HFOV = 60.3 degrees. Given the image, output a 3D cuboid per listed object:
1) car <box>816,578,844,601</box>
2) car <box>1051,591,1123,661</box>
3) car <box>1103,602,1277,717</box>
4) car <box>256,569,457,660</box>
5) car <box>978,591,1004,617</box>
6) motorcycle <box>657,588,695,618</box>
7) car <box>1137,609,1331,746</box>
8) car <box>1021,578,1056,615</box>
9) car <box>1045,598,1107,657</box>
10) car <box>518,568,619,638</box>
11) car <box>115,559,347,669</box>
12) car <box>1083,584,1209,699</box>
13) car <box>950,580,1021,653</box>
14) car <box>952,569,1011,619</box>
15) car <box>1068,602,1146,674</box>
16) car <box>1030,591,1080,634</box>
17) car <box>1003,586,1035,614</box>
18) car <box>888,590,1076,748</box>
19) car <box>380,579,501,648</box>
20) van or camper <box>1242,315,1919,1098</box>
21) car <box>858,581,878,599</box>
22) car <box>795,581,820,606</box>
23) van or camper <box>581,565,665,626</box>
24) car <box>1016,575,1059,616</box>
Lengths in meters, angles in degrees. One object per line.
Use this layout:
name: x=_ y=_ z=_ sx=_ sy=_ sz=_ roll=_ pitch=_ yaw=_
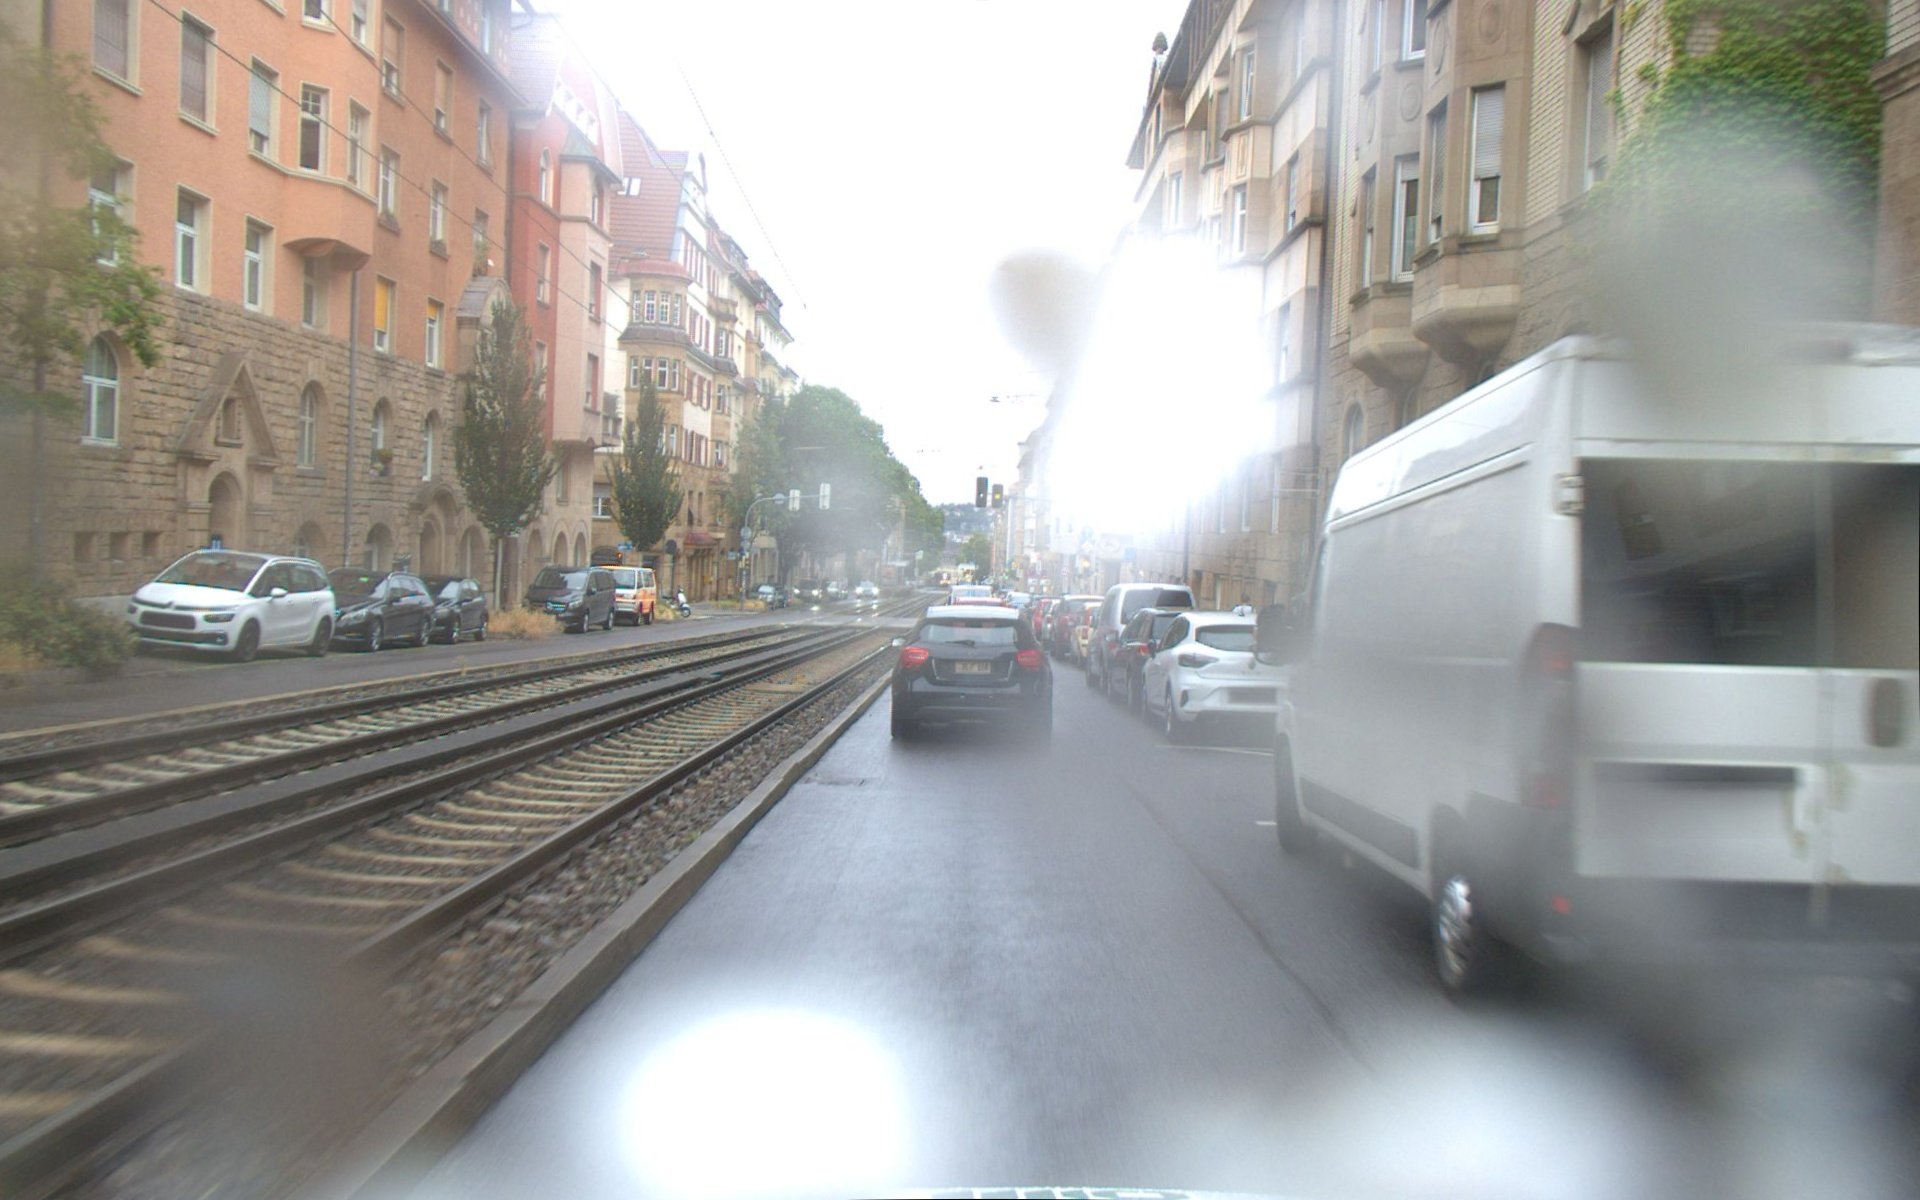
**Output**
car: x=-10.971 y=-0.940 z=139.584 sx=1.952 sy=1.825 sz=4.001 roll=2 pitch=1 yaw=1
car: x=3.317 y=0.655 z=43.792 sx=1.675 sy=1.656 sz=4.001 roll=2 pitch=1 yaw=2
car: x=3.276 y=0.806 z=24.287 sx=1.953 sy=1.466 sz=4.000 roll=1 pitch=0 yaw=0
car: x=-11.739 y=0.225 z=32.578 sx=1.953 sy=1.535 sz=4.975 roll=4 pitch=1 yaw=1
car: x=2.276 y=0.329 z=121.052 sx=1.814 sy=1.829 sz=3.812 roll=1 pitch=0 yaw=1
motorcycle: x=-11.642 y=0.134 z=67.796 sx=1.410 sy=1.154 sz=0.619 roll=3 pitch=0 yaw=30
car: x=3.164 y=0.839 z=19.781 sx=1.641 sy=1.436 sz=4.000 roll=1 pitch=0 yaw=0
car: x=4.584 y=-0.190 z=97.283 sx=1.859 sy=2.063 sz=4.176 roll=1 pitch=0 yaw=1
car: x=3.475 y=0.789 z=49.991 sx=1.604 sy=1.569 sz=3.466 roll=3 pitch=1 yaw=1
car: x=-11.639 y=0.061 z=49.448 sx=1.953 sy=1.934 sz=4.698 roll=1 pitch=1 yaw=-1
car: x=-11.682 y=0.215 z=26.843 sx=1.747 sy=1.617 sz=4.351 roll=-1 pitch=0 yaw=1
car: x=3.191 y=0.652 z=29.056 sx=1.738 sy=1.807 sz=4.361 roll=1 pitch=1 yaw=1
car: x=0.599 y=0.348 z=38.637 sx=1.504 sy=1.536 sz=4.001 roll=2 pitch=1 yaw=1
car: x=0.836 y=-0.238 z=61.101 sx=1.881 sy=1.684 sz=4.002 roll=2 pitch=1 yaw=4
car: x=3.437 y=0.871 z=39.152 sx=1.527 sy=1.504 sz=3.461 roll=3 pitch=1 yaw=1
car: x=3.461 y=0.450 z=60.654 sx=1.570 sy=1.443 sz=3.148 roll=2 pitch=1 yaw=-1
car: x=3.876 y=0.011 z=109.308 sx=1.733 sy=1.807 sz=3.997 roll=1 pitch=0 yaw=-3
car: x=0.212 y=0.709 z=18.852 sx=1.906 sy=1.592 sz=3.642 roll=1 pitch=0 yaw=-1
car: x=-11.701 y=0.266 z=37.483 sx=1.609 sy=1.422 sz=3.882 roll=2 pitch=1 yaw=-2
van or camper: x=2.959 y=0.341 z=8.426 sx=2.022 sy=2.512 sz=6.119 roll=1 pitch=0 yaw=1
car: x=-8.482 y=-0.955 z=153.199 sx=1.760 sy=1.575 sz=3.998 roll=3 pitch=1 yaw=-3
car: x=-11.225 y=-0.515 z=122.201 sx=1.755 sy=1.721 sz=3.996 roll=2 pitch=1 yaw=-5
van or camper: x=-11.630 y=-0.164 z=57.347 sx=1.953 sy=1.934 sz=4.698 roll=3 pitch=1 yaw=-1
car: x=3.057 y=-0.213 z=66.014 sx=1.517 sy=1.534 sz=4.001 roll=3 pitch=1 yaw=1
